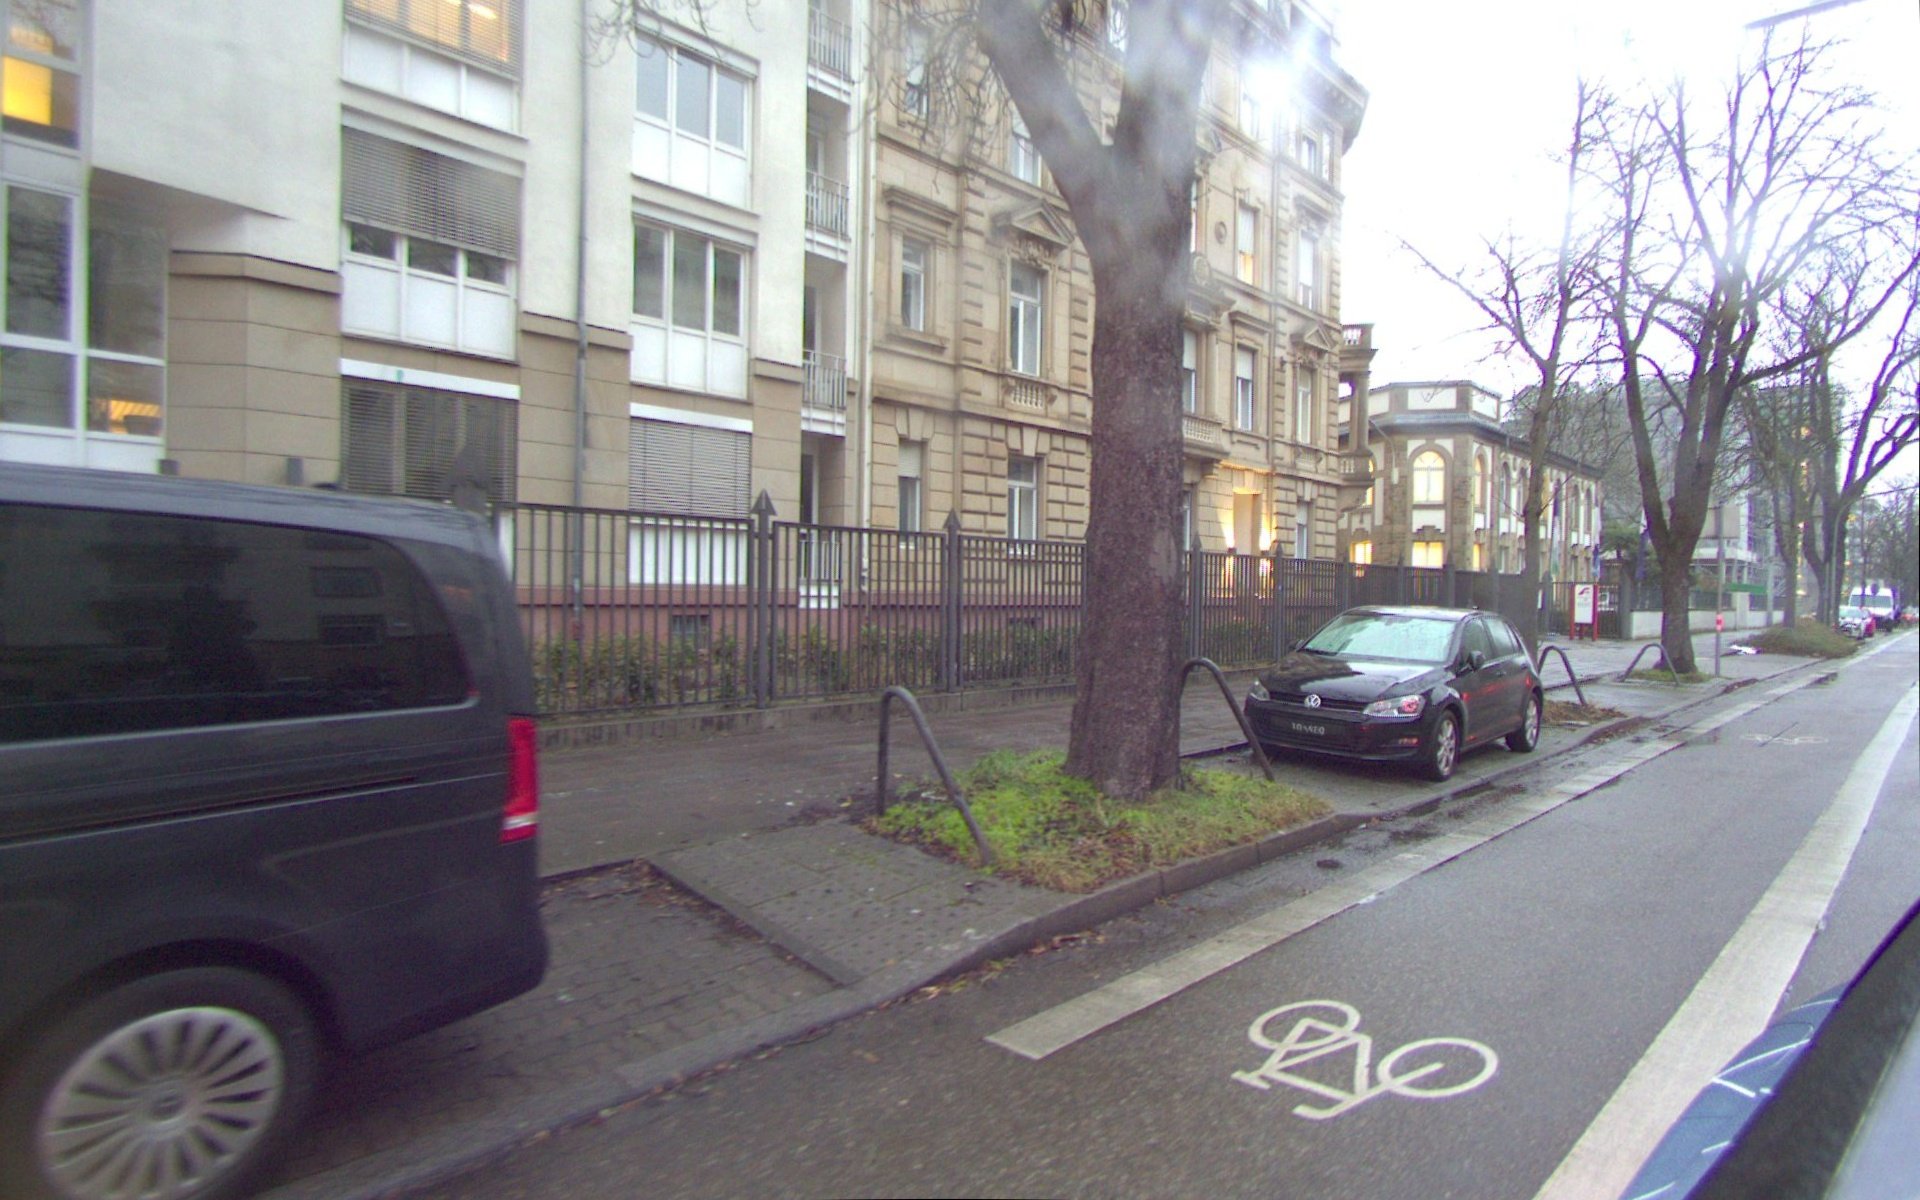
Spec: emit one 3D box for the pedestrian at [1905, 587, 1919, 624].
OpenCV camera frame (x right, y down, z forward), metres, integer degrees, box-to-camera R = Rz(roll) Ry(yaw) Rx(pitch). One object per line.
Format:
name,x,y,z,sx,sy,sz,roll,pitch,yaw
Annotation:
pedestrian,59.703,0.365,63.108,1.115,2.287,0.938,0,0,44

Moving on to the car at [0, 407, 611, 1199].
car,-3.510,0.511,2.075,4.881,1.899,2.032,0,2,-44

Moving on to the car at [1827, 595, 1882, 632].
car,44.455,0.640,50.291,1.993,1.703,3.939,0,1,43

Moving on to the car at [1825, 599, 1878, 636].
car,37.912,0.702,43.029,1.623,1.425,3.939,0,1,43

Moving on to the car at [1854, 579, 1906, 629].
car,51.735,0.173,56.939,2.086,2.670,5.366,0,1,43

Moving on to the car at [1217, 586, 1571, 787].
car,4.365,0.671,9.839,1.759,1.463,4.090,4,2,44

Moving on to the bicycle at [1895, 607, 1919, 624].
bicycle,59.671,0.954,63.134,1.913,1.004,0.845,1,1,45
